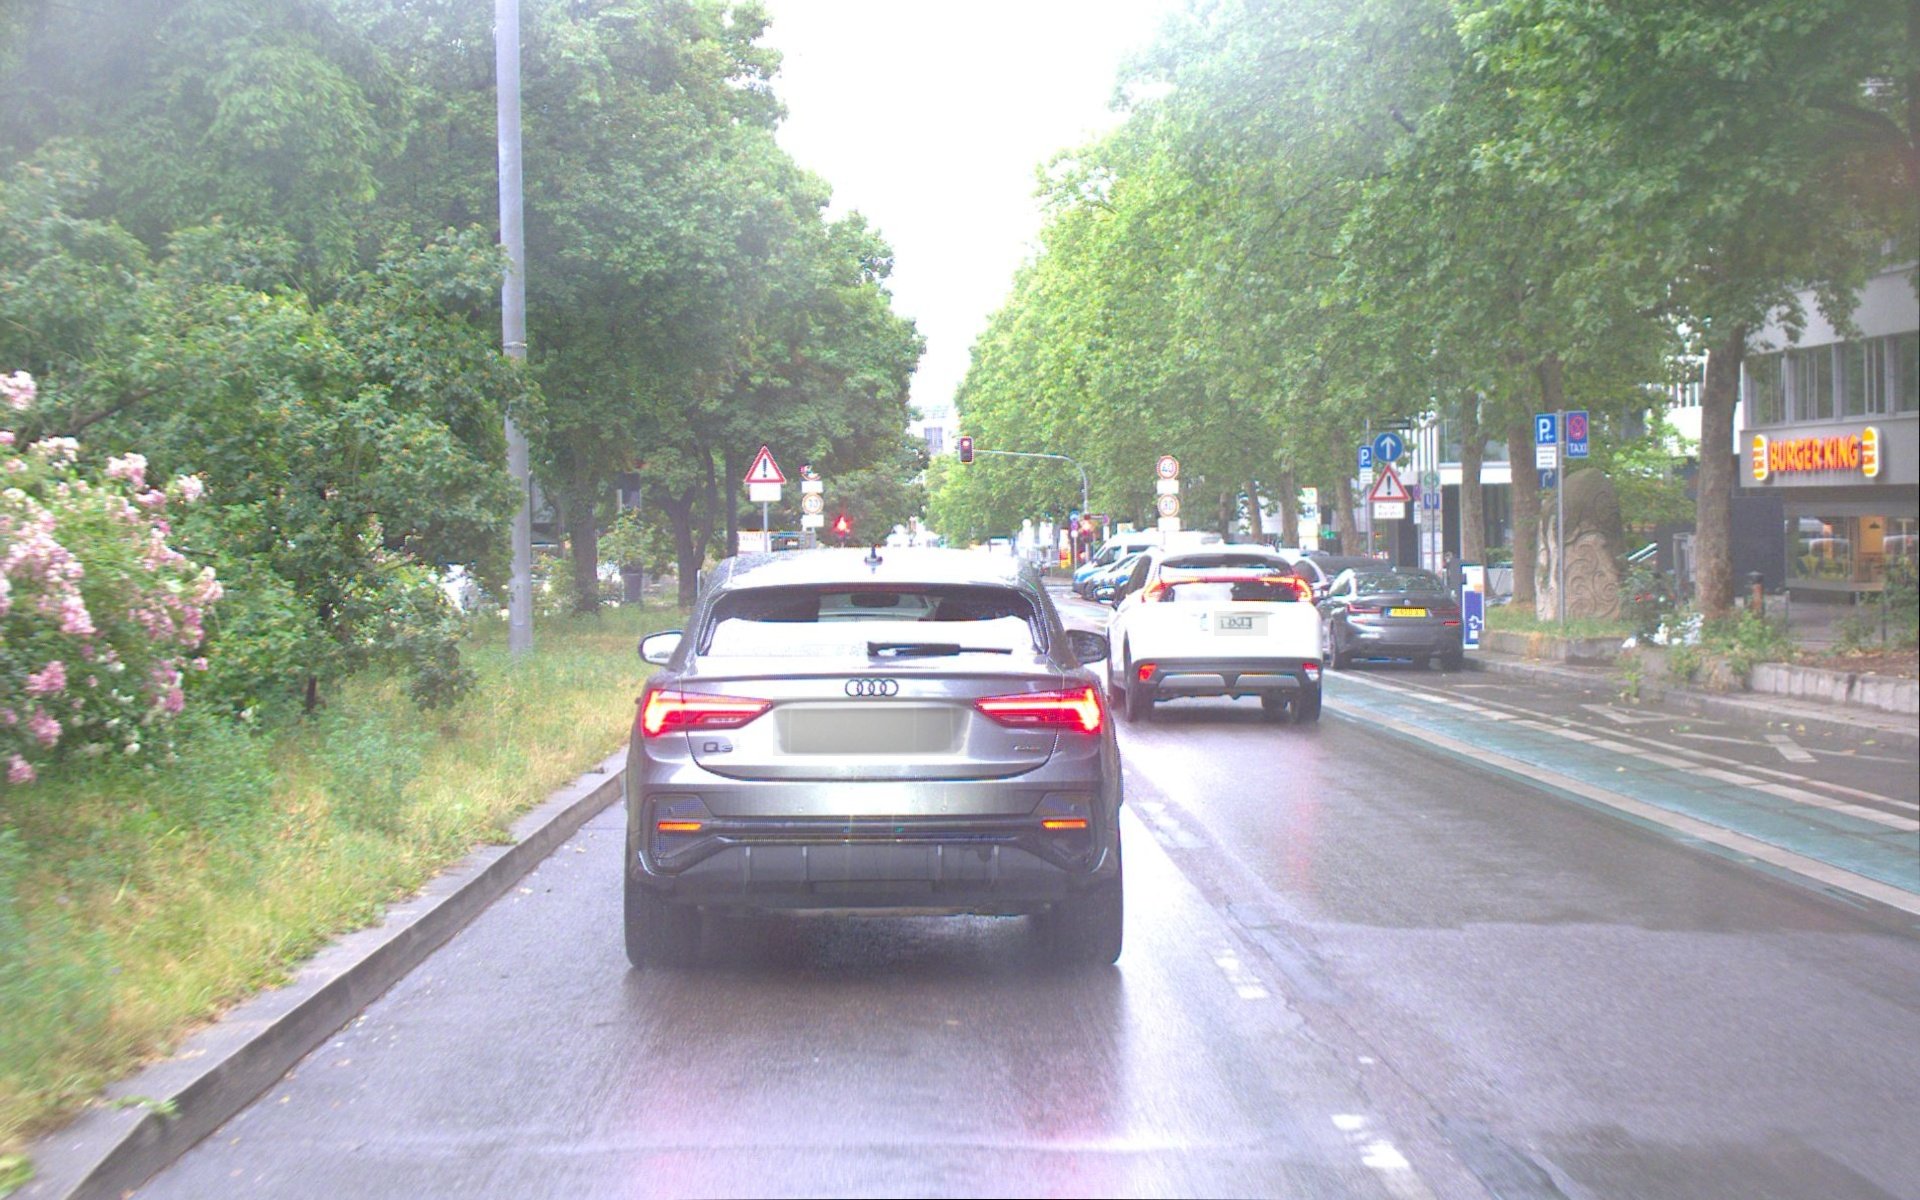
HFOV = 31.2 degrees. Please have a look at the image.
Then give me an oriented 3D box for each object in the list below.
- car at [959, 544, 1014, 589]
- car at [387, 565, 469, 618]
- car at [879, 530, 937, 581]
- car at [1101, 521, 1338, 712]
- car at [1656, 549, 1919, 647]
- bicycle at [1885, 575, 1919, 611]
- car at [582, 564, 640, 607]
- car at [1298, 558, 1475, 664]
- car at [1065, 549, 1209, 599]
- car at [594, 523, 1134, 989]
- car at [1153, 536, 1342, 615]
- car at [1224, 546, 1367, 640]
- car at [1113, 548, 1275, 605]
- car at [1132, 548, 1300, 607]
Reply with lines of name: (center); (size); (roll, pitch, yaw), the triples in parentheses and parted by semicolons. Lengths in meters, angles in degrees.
car: (1.002, -1.271, 132.156); (1.993, 1.645, 4.000); (1, 0, -1)
car: (-14.558, -0.231, 94.197); (1.649, 1.430, 3.812); (-1, 0, 0)
car: (-1.875, -1.575, 122.724); (1.993, 1.721, 4.000); (1, 0, -2)
car: (2.420, 0.143, 32.974); (1.878, 1.691, 4.000); (1, 0, -1)
car: (9.664, -0.027, 39.619); (2.889, 1.071, 1.453); (1, 0, 30)
bicycle: (22.167, -0.170, 80.486); (0.448, 0.833, 2.027); (1, 0, -1)
car: (-14.049, -0.574, 138.443); (1.760, 1.698, 4.333); (1, 0, 1)
car: (6.097, 0.133, 49.598); (1.873, 1.416, 4.611); (1, 0, -1)
car: (6.273, -0.924, 121.699); (4.645, 1.700, 1.997); (1, 0, 27)
car: (-0.397, 0.517, 13.807); (1.849, 1.596, 4.000); (0, 1, -2)
car: (7.562, -0.647, 90.512); (4.602, 2.007, 1.964); (1, 0, 37)
car: (5.869, -0.124, 60.547); (1.727, 1.566, 4.074); (1, 0, -5)
car: (7.329, -0.745, 107.704); (4.645, 1.700, 1.997); (1, 0, 27)
car: (7.760, -0.678, 104.139); (4.645, 1.700, 1.997); (1, 0, 27)
